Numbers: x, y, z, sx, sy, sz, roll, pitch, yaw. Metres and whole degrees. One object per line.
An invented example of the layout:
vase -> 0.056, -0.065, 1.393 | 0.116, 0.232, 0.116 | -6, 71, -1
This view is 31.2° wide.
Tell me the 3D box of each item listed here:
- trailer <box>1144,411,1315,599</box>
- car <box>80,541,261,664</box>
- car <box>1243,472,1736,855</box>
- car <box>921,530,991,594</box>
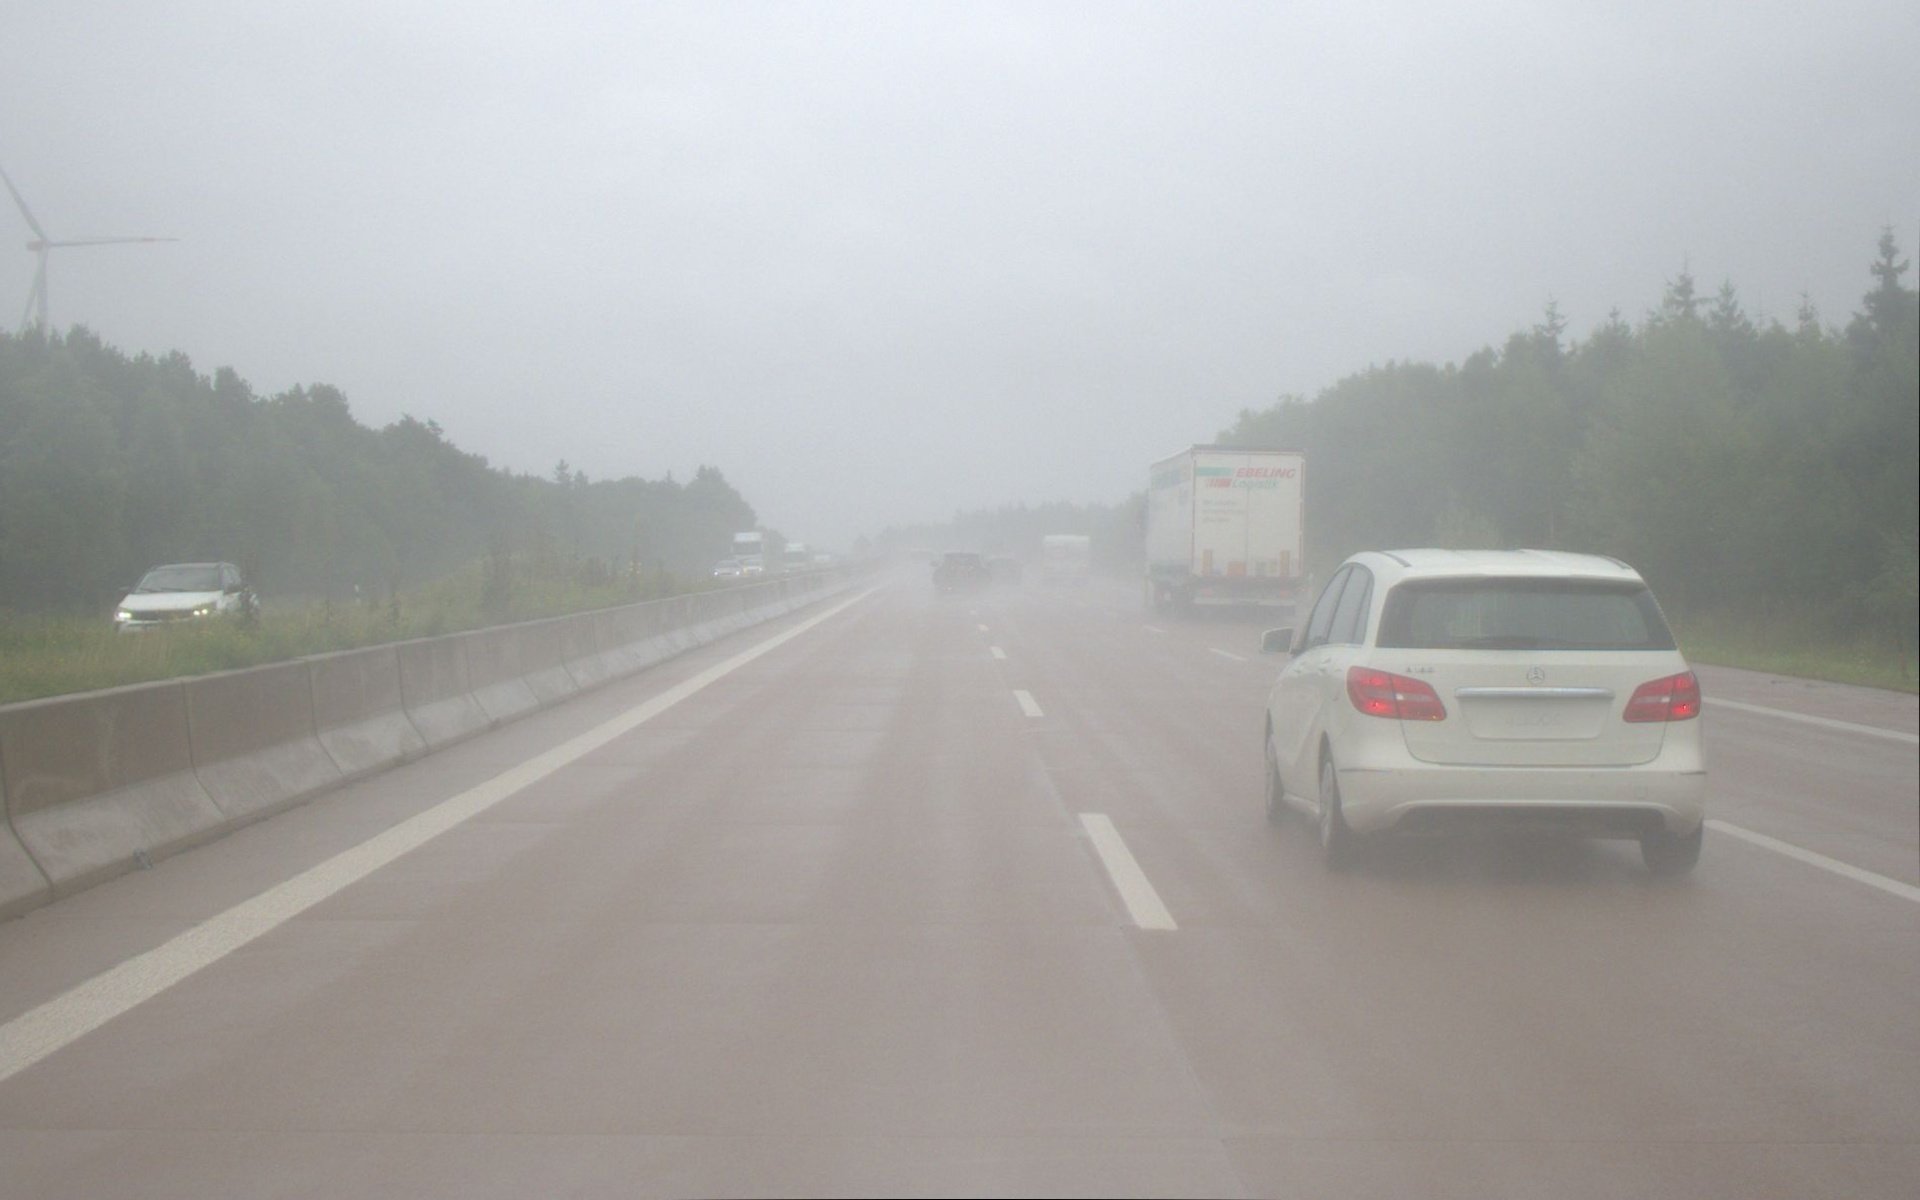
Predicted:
trailer -> 6.444, -2.259, 84.247 | 2.852, 4.217, 13.133 | 1, 1, -1
car -> -13.525, 0.011, 59.165 | 2.088, 2.007, 4.799 | 1, 1, -1
car -> 2.627, 0.263, 18.166 | 1.808, 1.722, 4.744 | 1, 1, 0
car -> -0.134, -1.261, 113.776 | 2.173, 1.974, 4.130 | 2, 1, 0
